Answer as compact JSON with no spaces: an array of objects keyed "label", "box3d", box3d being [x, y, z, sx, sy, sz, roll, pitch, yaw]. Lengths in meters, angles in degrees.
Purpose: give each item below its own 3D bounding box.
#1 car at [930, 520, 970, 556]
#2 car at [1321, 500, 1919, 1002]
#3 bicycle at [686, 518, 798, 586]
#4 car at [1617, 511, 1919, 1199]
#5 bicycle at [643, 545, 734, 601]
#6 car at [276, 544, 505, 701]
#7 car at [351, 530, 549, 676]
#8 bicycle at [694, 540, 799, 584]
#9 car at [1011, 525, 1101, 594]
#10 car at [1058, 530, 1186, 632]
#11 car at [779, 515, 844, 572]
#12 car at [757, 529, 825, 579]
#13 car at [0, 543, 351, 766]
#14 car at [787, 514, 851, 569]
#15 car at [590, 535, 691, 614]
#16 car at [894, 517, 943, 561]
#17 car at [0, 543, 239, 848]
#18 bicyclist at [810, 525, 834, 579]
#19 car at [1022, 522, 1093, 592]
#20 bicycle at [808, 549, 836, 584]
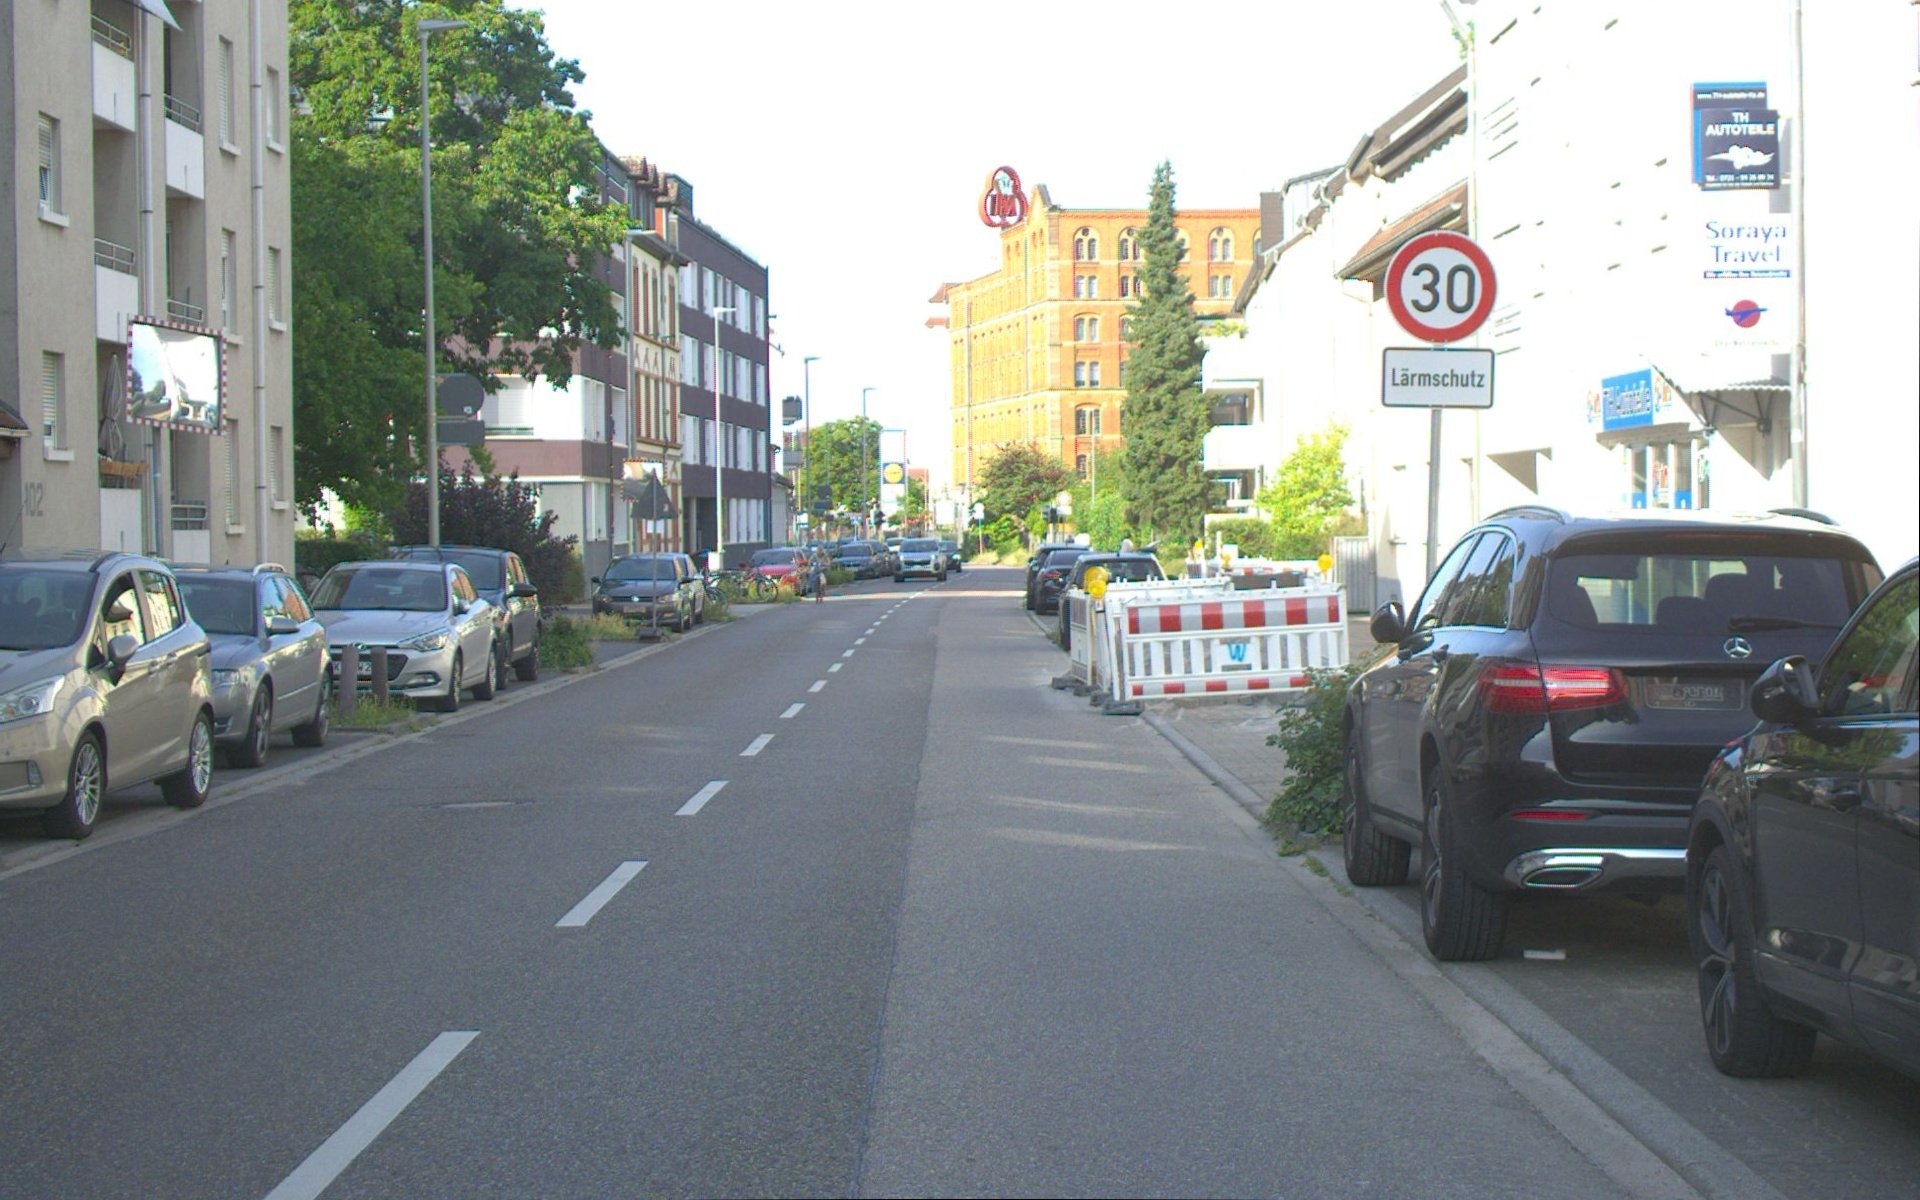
[{"label":"car","box3d":[-0.447,-2.839,157.339,1.763,1.610,4.000,-1,1,0]},{"label":"car","box3d":[2.563,0.449,13.649,1.830,1.624,4.463,-2,1,1]},{"label":"bicycle","box3d":[-5.903,-1.304,93.211,2.918,1.771,1.202,-1,1,1]},{"label":"car","box3d":[2.998,0.550,8.459,1.830,1.554,4.318,-1,1,-1]},{"label":"bicycle","box3d":[-6.037,-0.607,76.446,2.000,1.213,0.708,-1,1,-5]},{"label":"car","box3d":[-5.649,0.179,34.522,1.686,1.449,4.141,0,1,-1]},{"label":"car","box3d":[-5.857,-0.014,39.932,1.686,1.597,4.370,0,1,0]},{"label":"bicycle","box3d":[-5.891,-1.052,94.988,2.773,1.140,1.143,-1,1,1]},{"label":"car","box3d":[2.142,-0.927,77.497,1.859,1.467,4.000,1,1,0]},{"label":"car","box3d":[2.481,-0.326,53.430,1.830,1.477,3.943,-1,1,1]},{"label":"car","box3d":[-5.113,-1.975,118.805,1.993,1.905,3.689,-1,1,1]},{"label":"car","box3d":[-5.039,-1.397,102.891,1.840,1.459,3.585,-1,1,1]},{"label":"car","box3d":[-5.854,0.344,26.061,1.807,1.516,4.371,0,1,-2]},{"label":"car","box3d":[-5.018,-2.087,122.881,1.993,1.901,4.000,-1,1,1]},{"label":"car","box3d":[-5.964,-0.494,64.478,1.573,1.415,3.804,0,1,0]},{"label":"car","box3d":[-1.554,-2.314,129.932,1.763,1.610,4.000,-1,1,0]},{"label":"car","box3d":[-5.492,0.462,19.840,1.727,1.550,3.965,0,1,2]},{"label":"bicyclist","box3d":[-3.766,-1.316,93.811,0.591,1.437,0.750,-1,1,1]},{"label":"car","box3d":[2.331,-1.053,82.912,1.601,1.640,3.685,1,1,0]},{"label":"bicycle","box3d":[-3.759,-0.919,93.755,0.608,0.939,1.811,-1,1,1]}]
